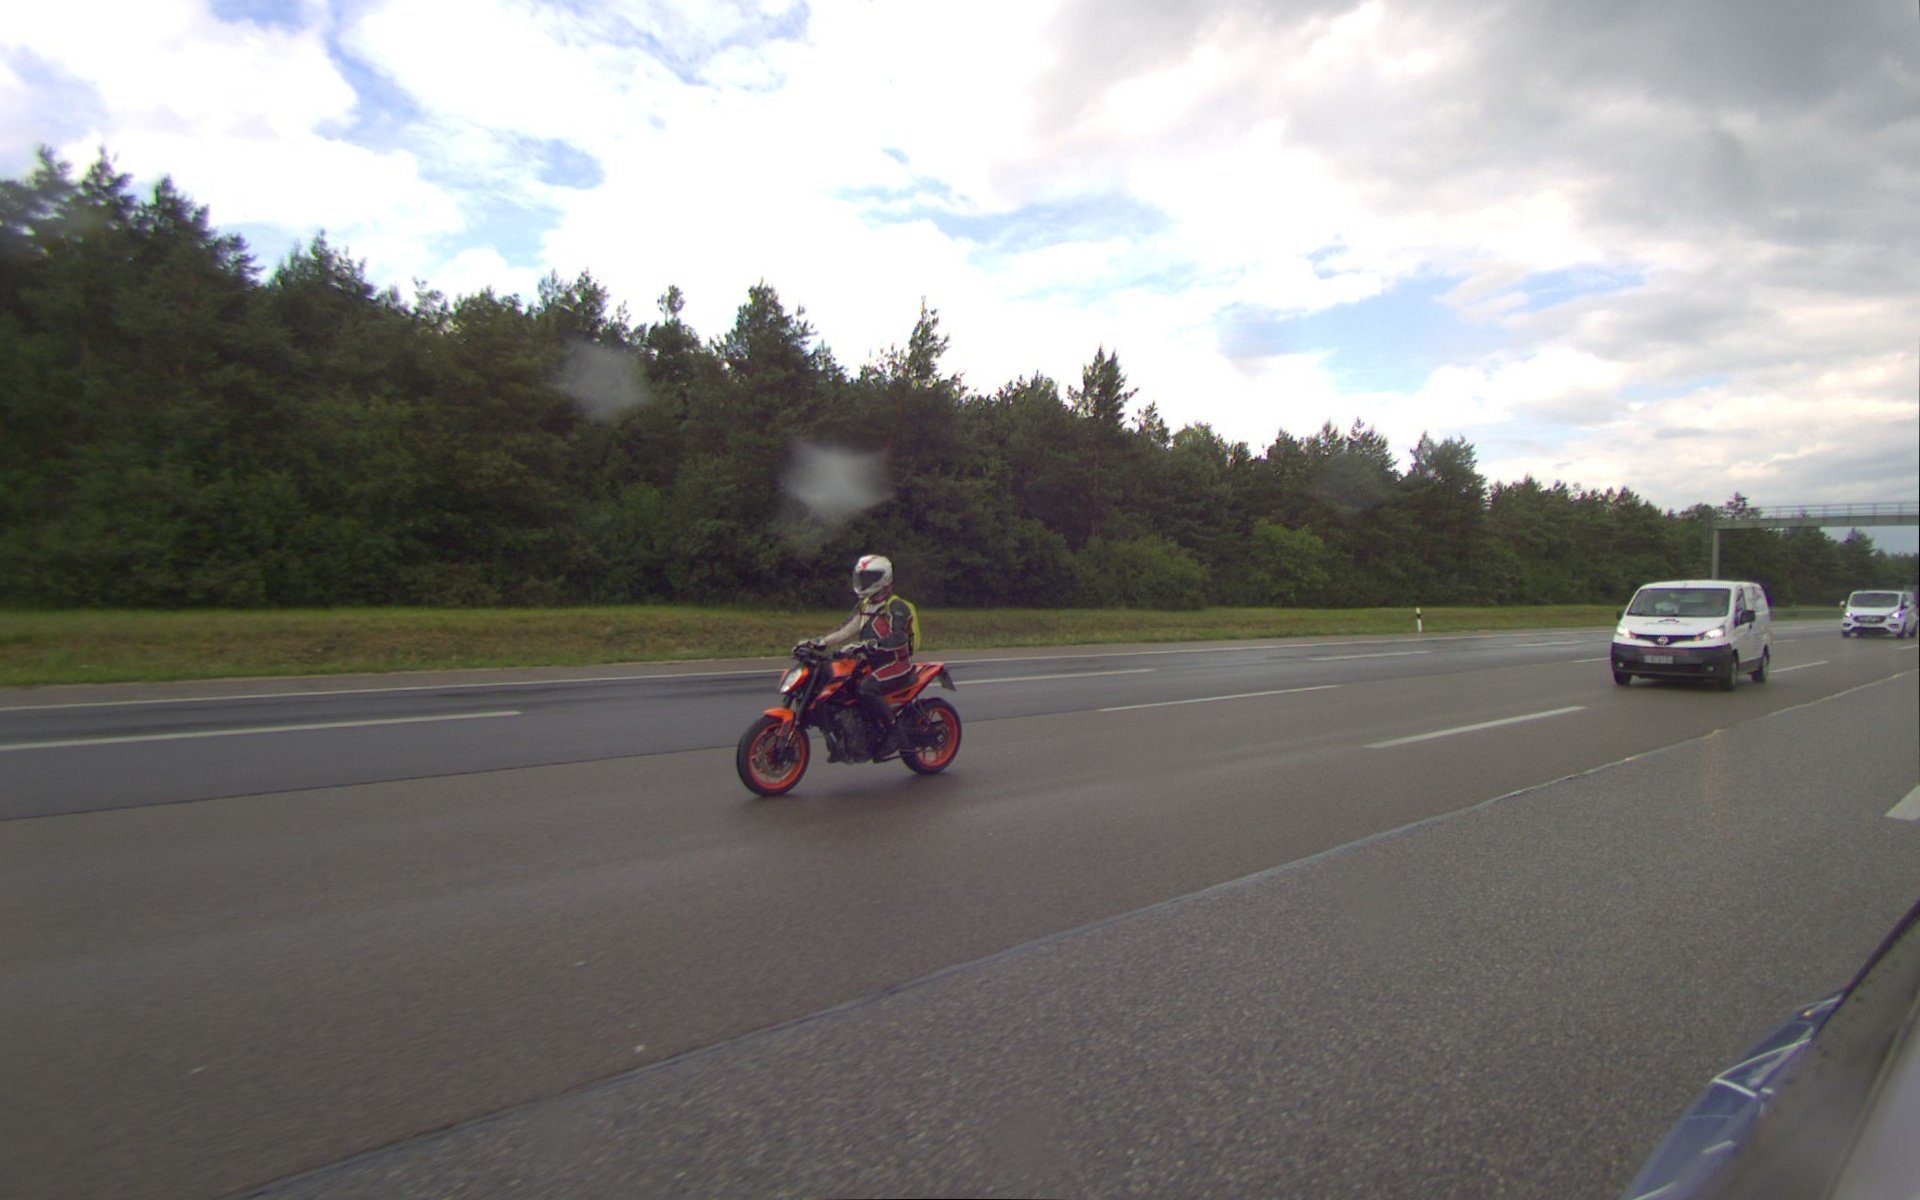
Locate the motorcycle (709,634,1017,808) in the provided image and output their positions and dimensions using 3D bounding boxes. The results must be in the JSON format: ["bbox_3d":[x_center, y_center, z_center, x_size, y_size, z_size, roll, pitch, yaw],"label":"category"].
[{"bbox_3d":[-0.692,0.827,7.679,2.135,1.044,1.002,0,1,-39],"label":"motorcycle"}]

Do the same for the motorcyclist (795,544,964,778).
[{"bbox_3d":[-0.616,0.417,7.725,0.942,1.635,0.893,0,0,-39],"label":"motorcyclist"}]

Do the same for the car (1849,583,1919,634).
[{"bbox_3d":[39.850,0.357,43.052,5.381,2.039,1.999,0,0,-37],"label":"car"}]

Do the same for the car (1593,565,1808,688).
[{"bbox_3d":[13.378,0.404,18.170,4.793,1.925,1.968,0,1,-39],"label":"car"}]
